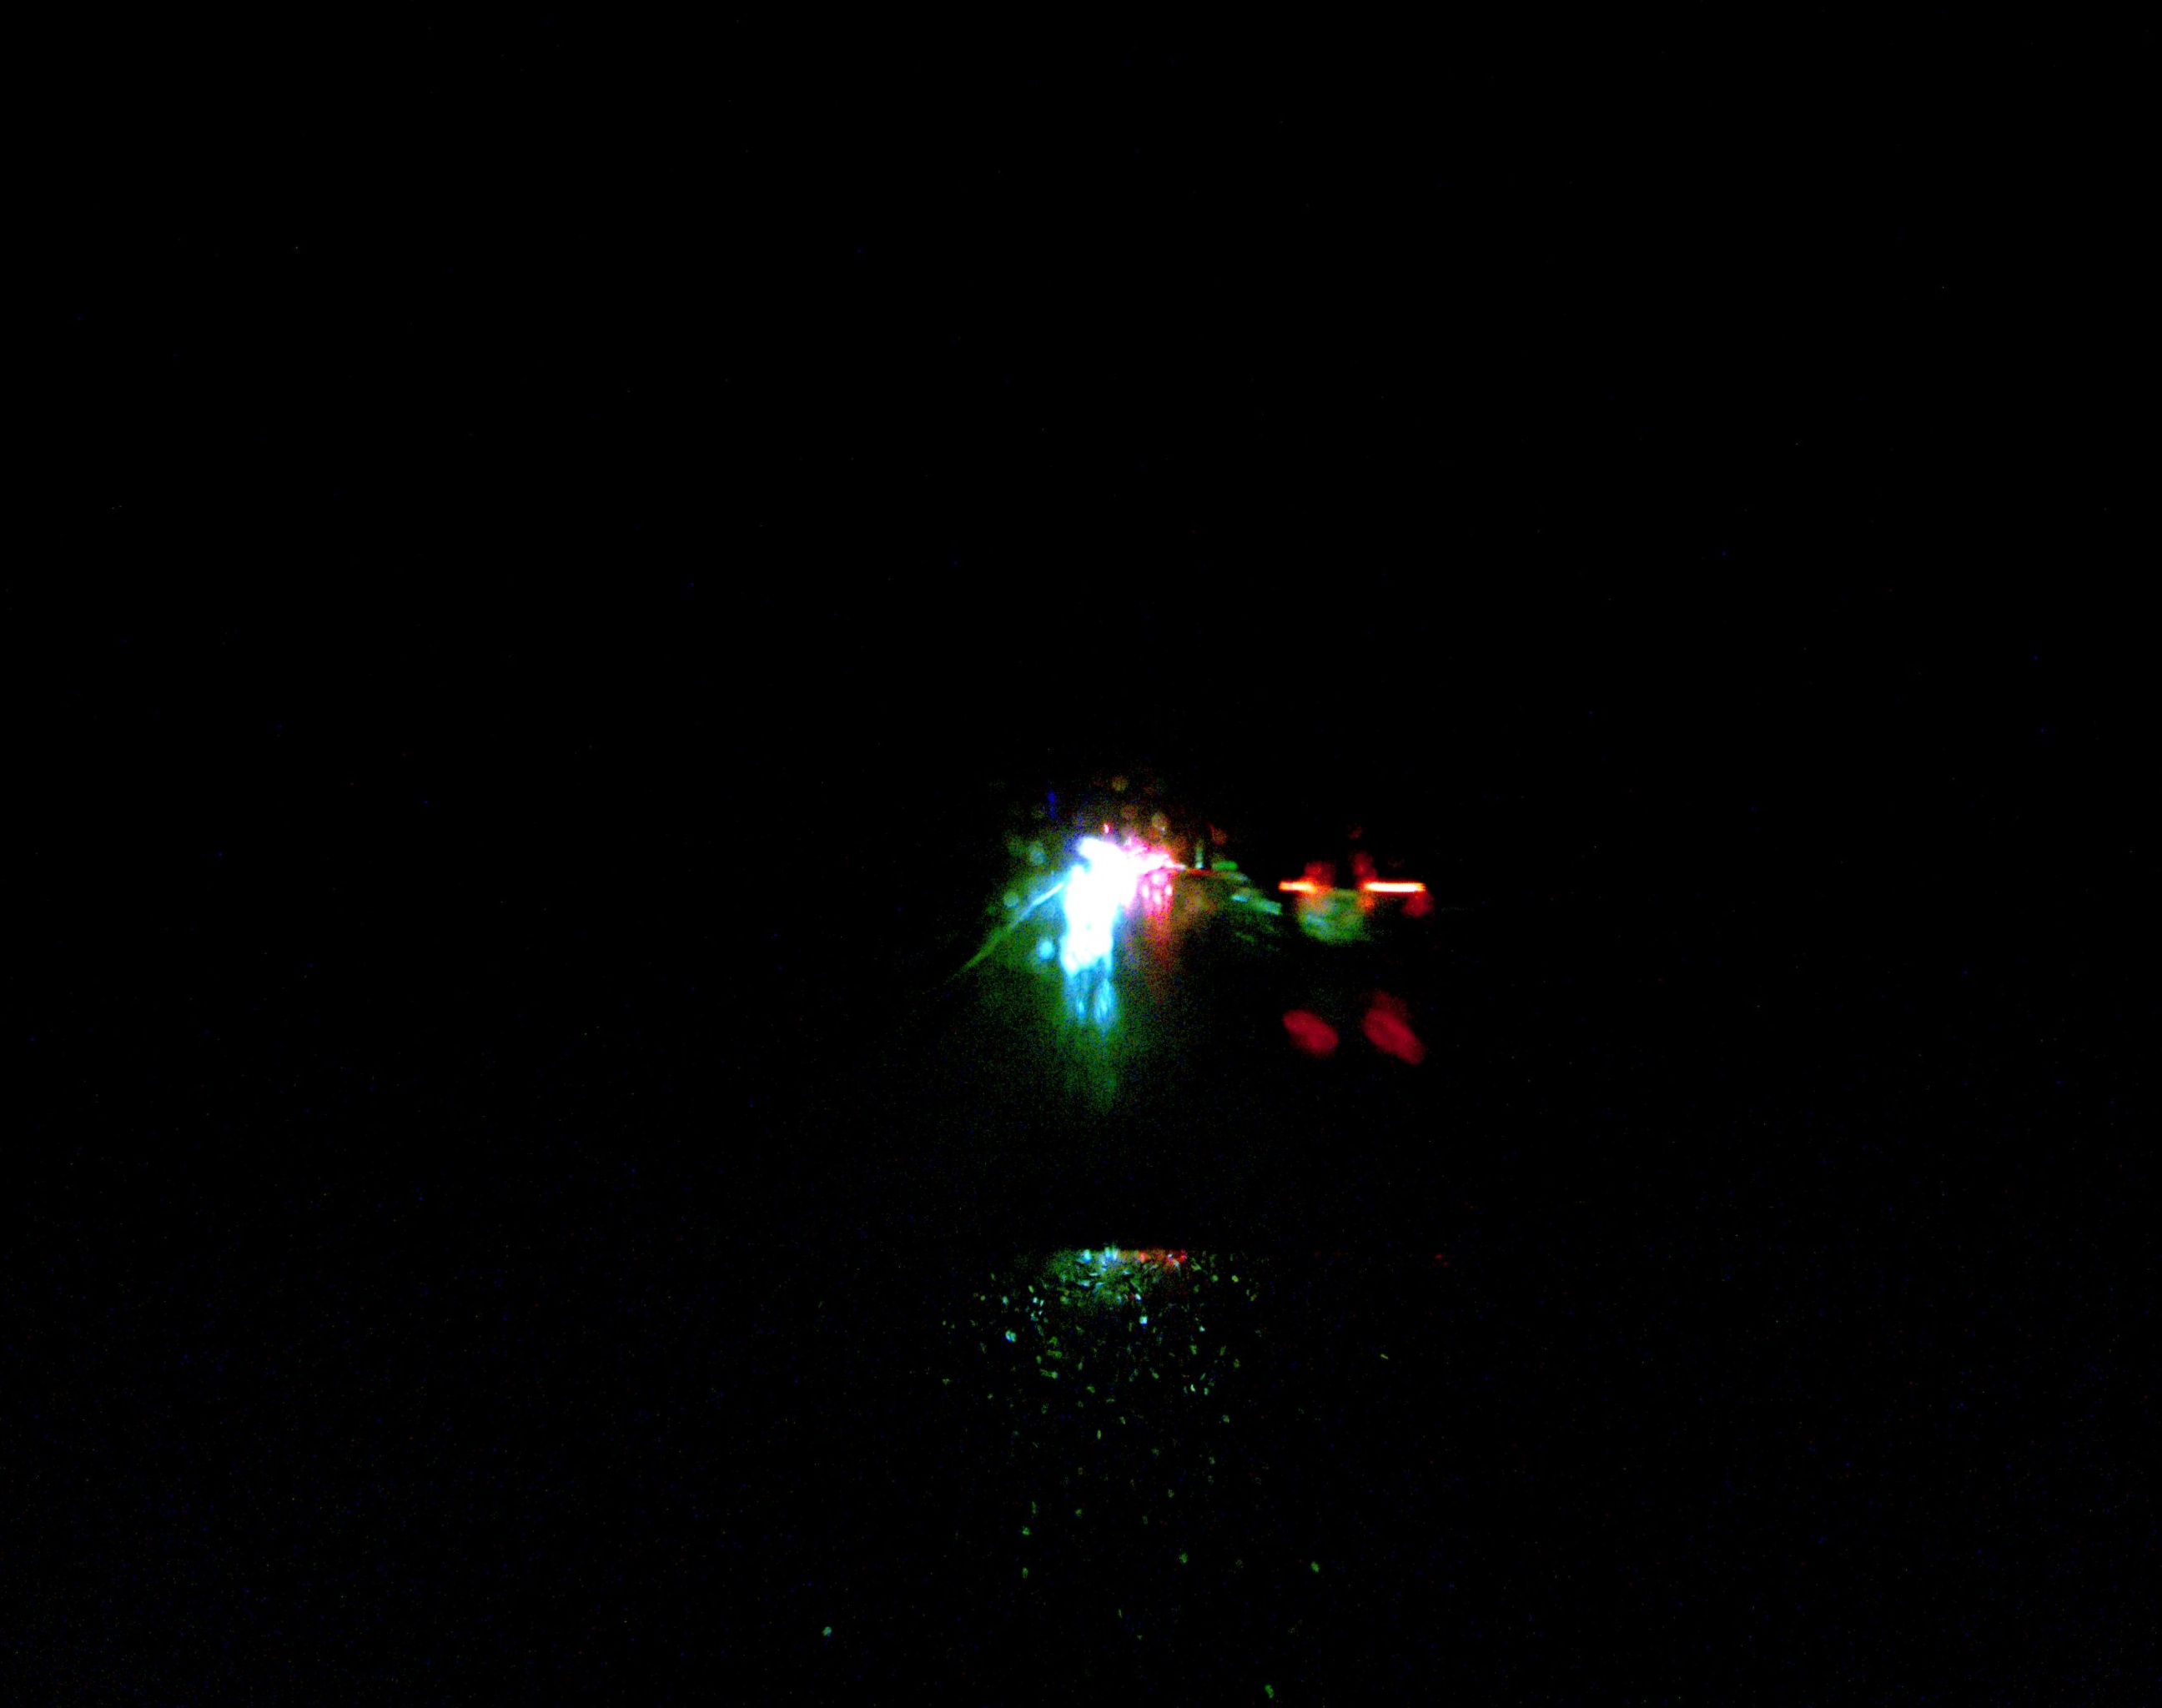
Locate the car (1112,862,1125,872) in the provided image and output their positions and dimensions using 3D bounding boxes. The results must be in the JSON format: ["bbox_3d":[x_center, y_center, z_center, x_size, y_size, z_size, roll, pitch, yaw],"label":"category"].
[{"bbox_3d":[5.647,1.924,115.362,1.790,1.380,3.776,-3,1,1],"label":"car"}]

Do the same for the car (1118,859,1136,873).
[{"bbox_3d":[5.008,1.335,83.556,1.790,1.459,3.776,-1,0,1],"label":"car"}]

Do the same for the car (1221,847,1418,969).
[{"bbox_3d":[3.650,0.718,12.540,1.835,1.546,4.441,-3,1,1],"label":"car"}]

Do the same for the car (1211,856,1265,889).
[{"bbox_3d":[7.928,0.878,38.771,1.835,1.545,4.441,-1,0,1],"label":"car"}]

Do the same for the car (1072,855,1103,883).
[{"bbox_3d":[0.472,0.965,52.204,1.998,1.804,4.000,-1,0,1],"label":"car"}]

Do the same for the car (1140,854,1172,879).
[{"bbox_3d":[5.494,0.857,56.244,1.951,1.629,4.821,-3,1,1],"label":"car"}]

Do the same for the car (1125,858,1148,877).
[{"bbox_3d":[5.124,1.202,70.594,1.790,1.623,4.426,-1,0,1],"label":"car"}]
